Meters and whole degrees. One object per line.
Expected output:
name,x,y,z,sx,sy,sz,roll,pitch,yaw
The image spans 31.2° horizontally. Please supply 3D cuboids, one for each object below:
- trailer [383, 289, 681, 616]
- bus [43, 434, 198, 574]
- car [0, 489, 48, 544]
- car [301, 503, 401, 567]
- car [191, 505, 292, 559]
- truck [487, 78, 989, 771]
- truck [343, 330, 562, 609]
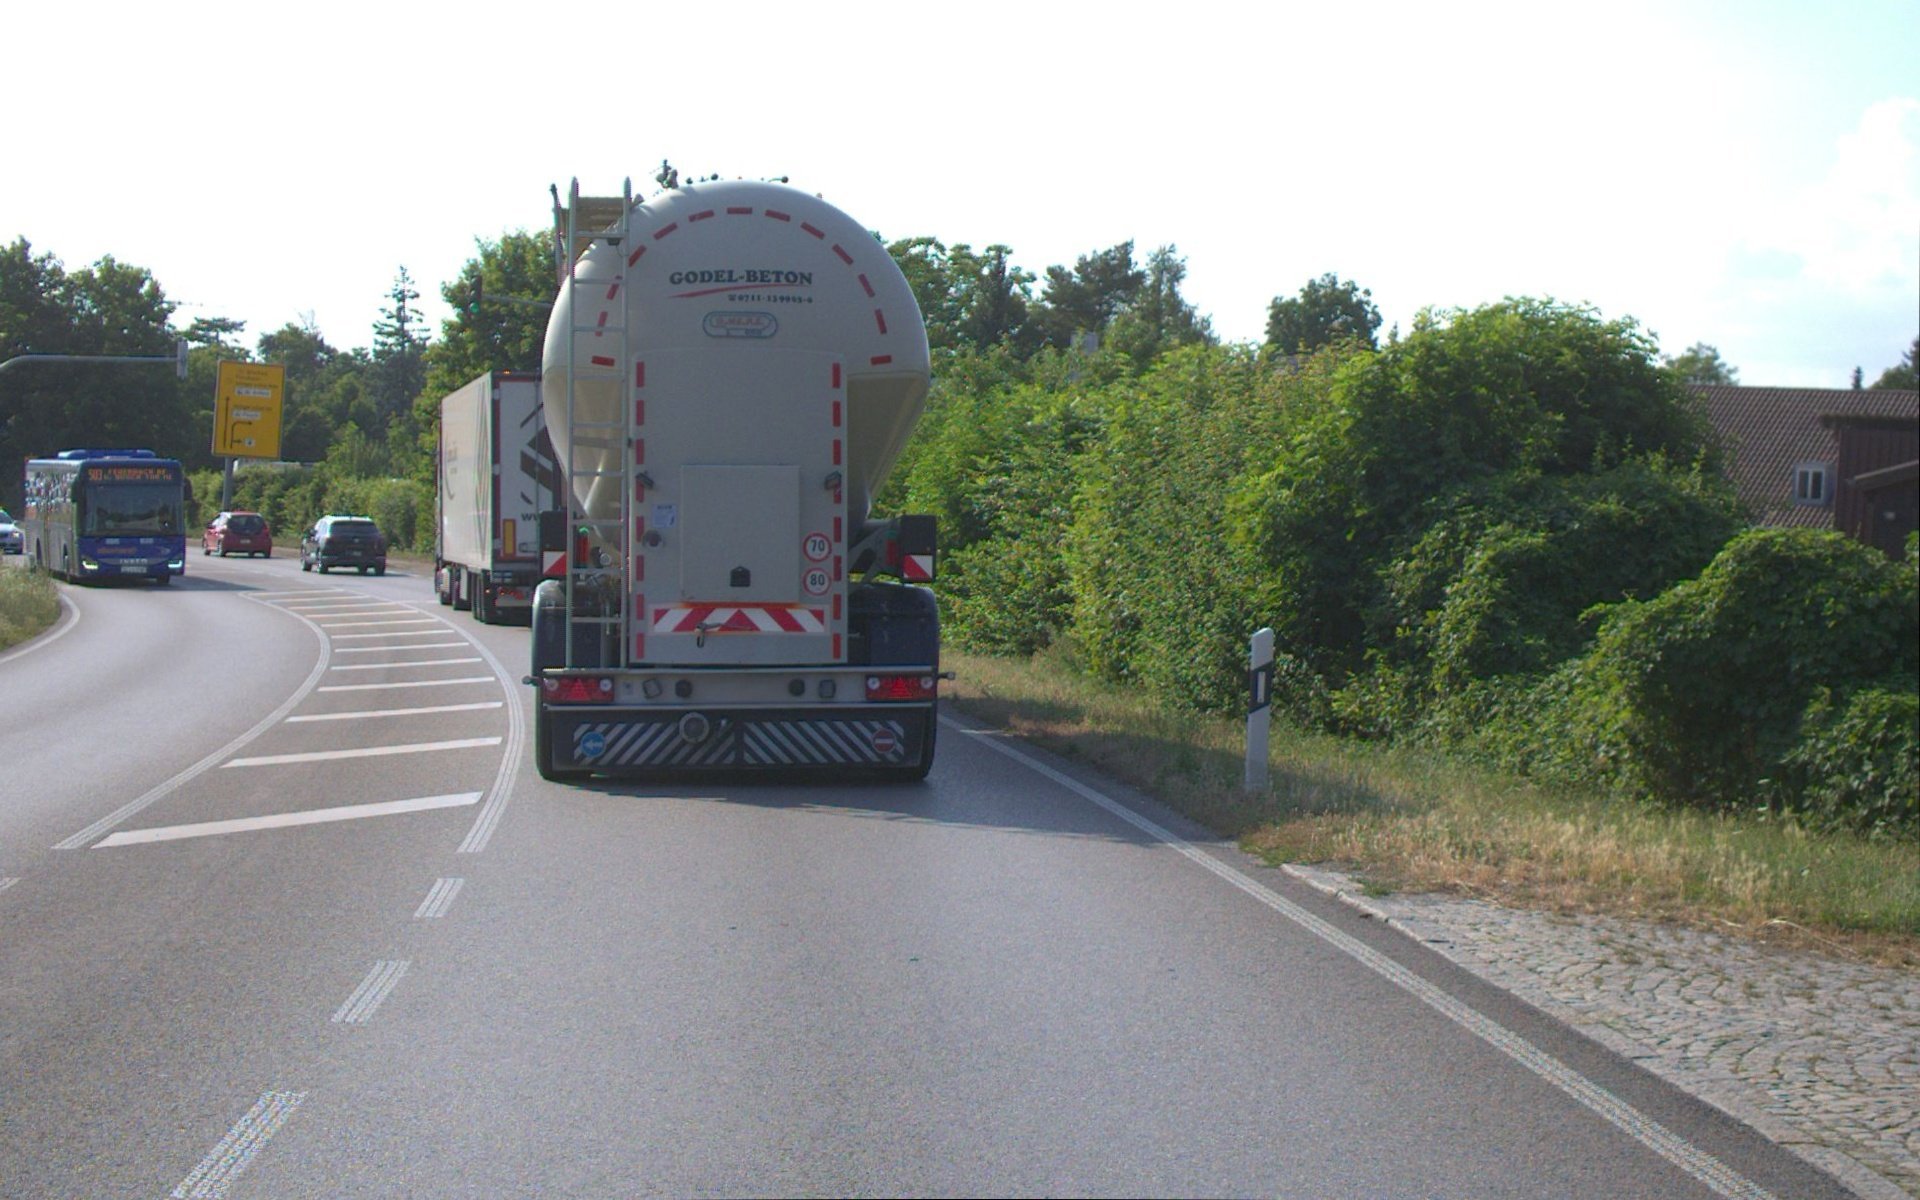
trailer,-7.290,-2.261,57.013,2.963,4.865,10.291,1,0,-18
bus,-20.961,-2.269,85.346,2.793,3.170,12.130,1,0,-18
car,-30.234,-2.616,107.973,1.841,1.650,4.000,1,0,-33
car,-16.597,-1.745,93.562,1.993,1.650,4.001,1,0,-19
car,-22.969,-2.153,109.769,2.299,1.650,4.416,1,0,-23
truck,-1.842,-1.090,26.808,2.975,4.161,11.664,1,0,-5
truck,-9.556,-2.333,64.172,2.962,4.870,6.432,1,0,-18
